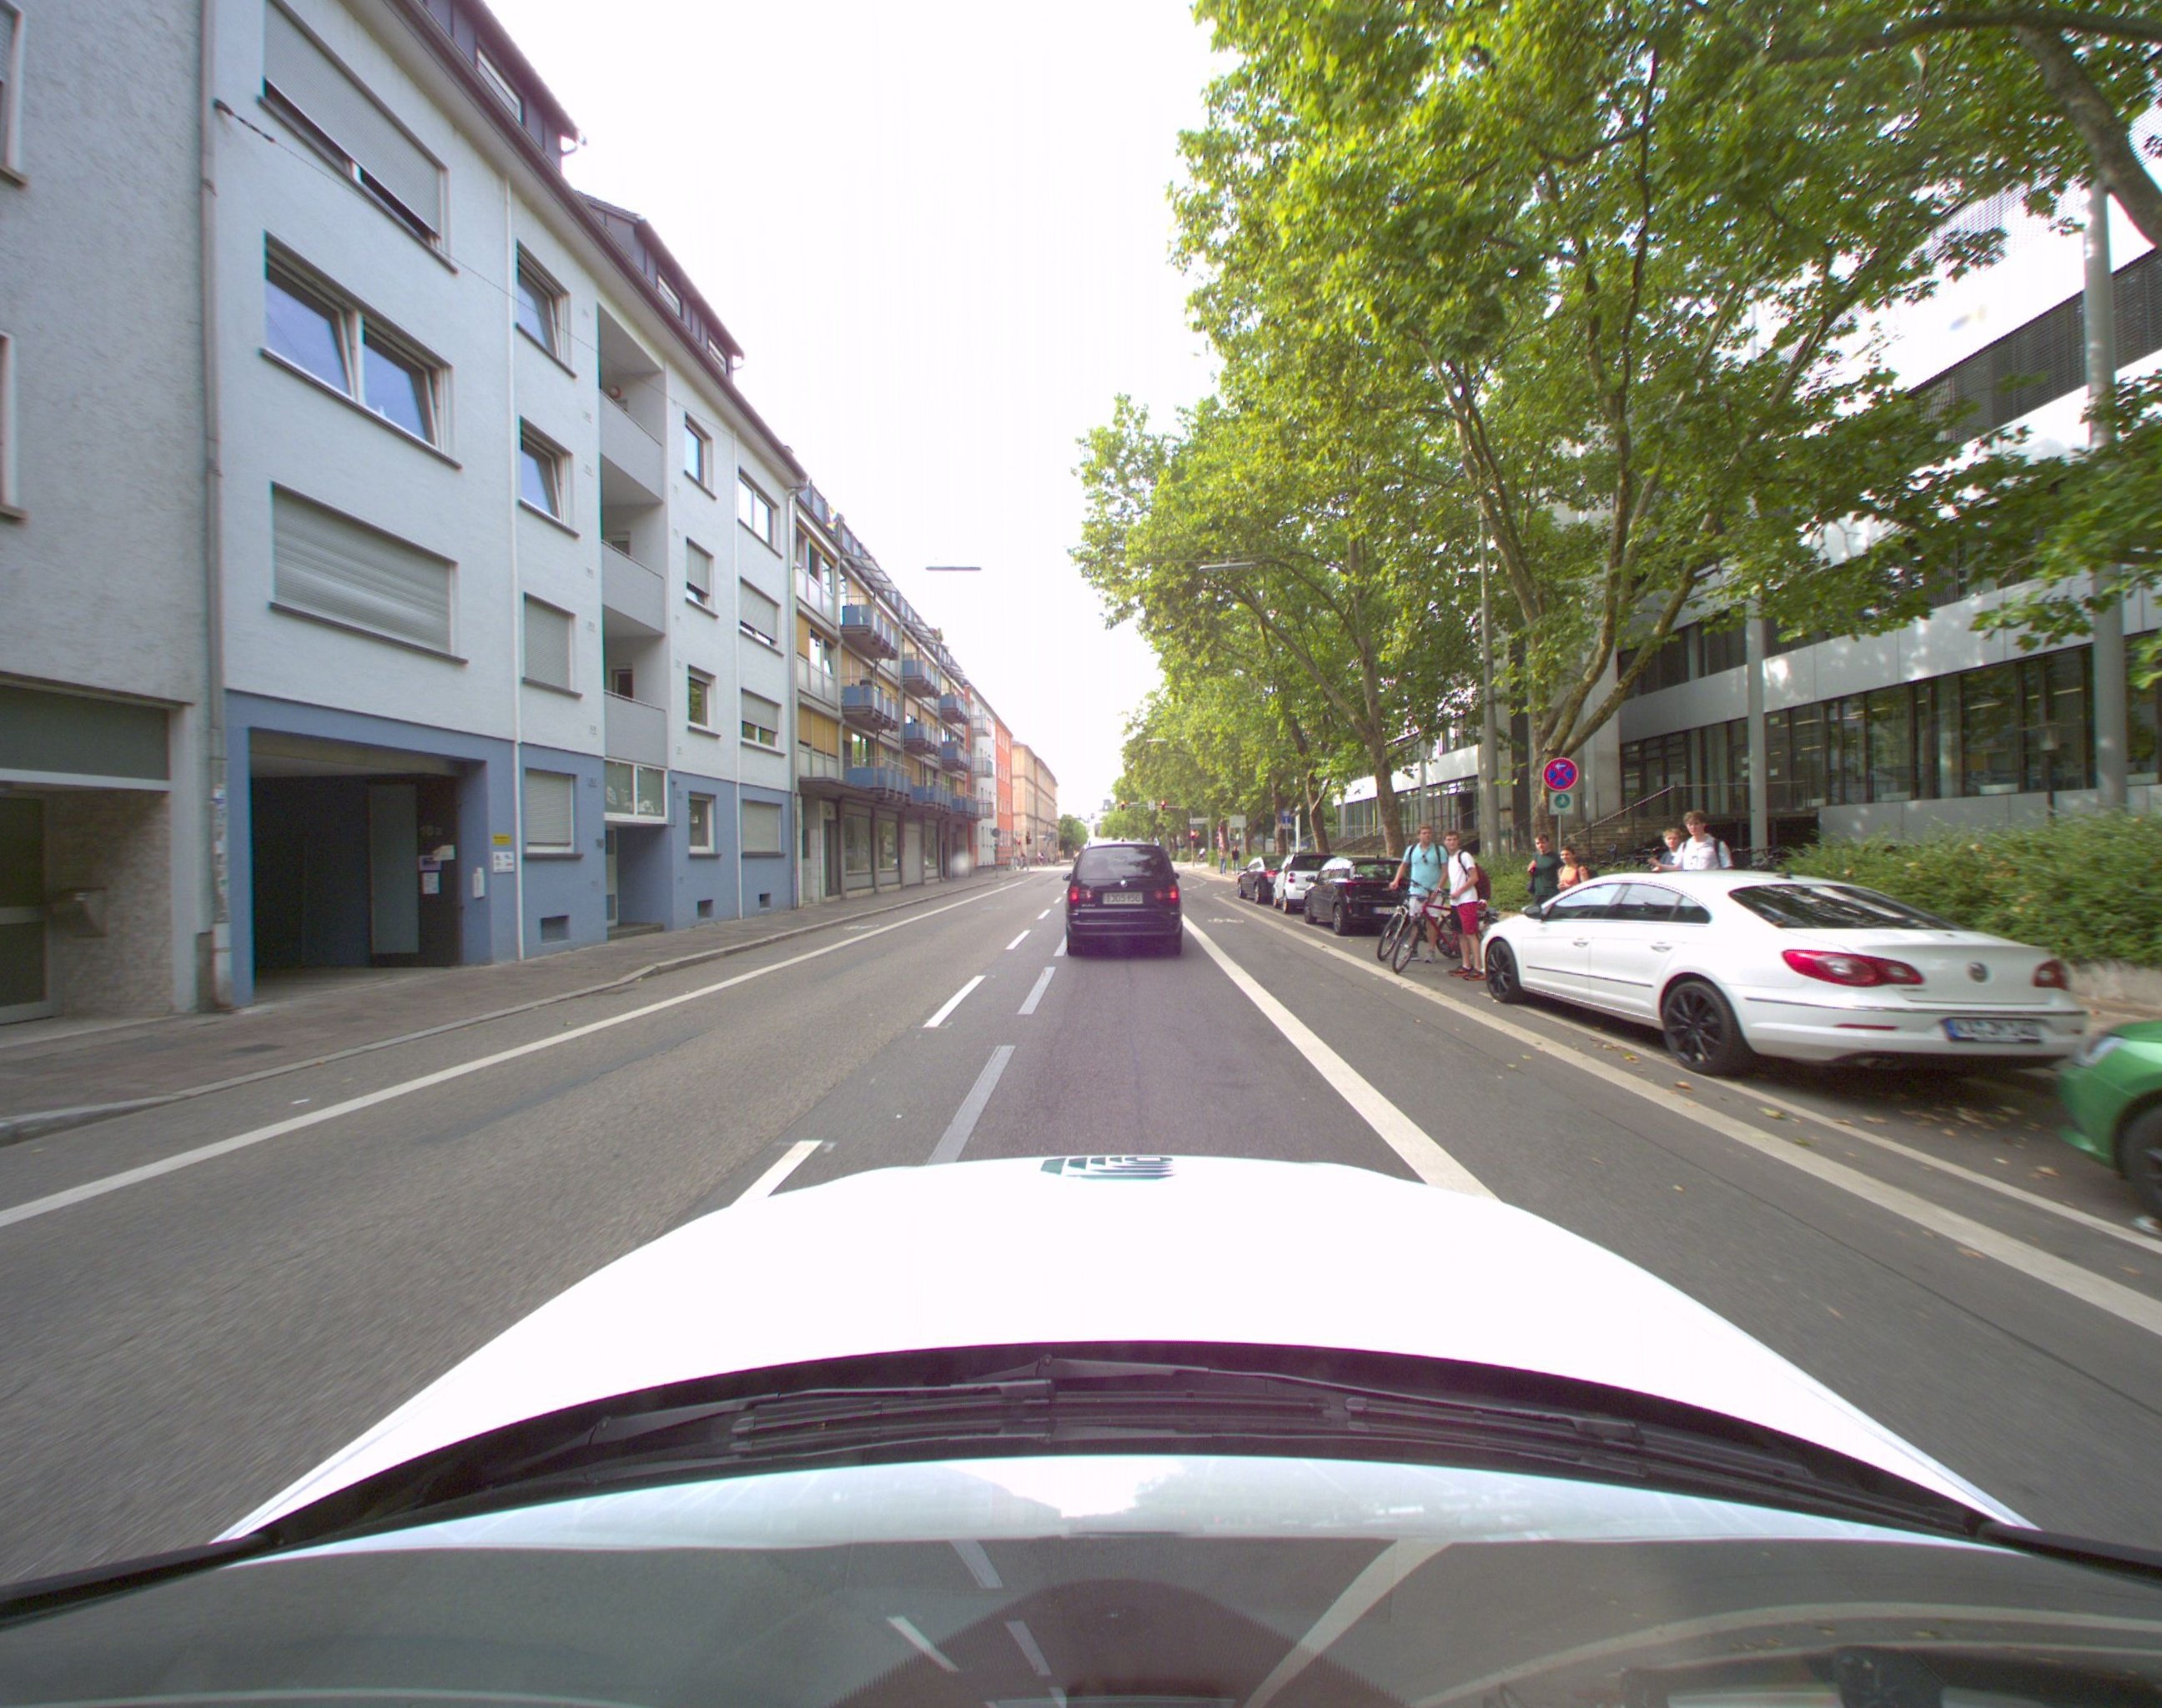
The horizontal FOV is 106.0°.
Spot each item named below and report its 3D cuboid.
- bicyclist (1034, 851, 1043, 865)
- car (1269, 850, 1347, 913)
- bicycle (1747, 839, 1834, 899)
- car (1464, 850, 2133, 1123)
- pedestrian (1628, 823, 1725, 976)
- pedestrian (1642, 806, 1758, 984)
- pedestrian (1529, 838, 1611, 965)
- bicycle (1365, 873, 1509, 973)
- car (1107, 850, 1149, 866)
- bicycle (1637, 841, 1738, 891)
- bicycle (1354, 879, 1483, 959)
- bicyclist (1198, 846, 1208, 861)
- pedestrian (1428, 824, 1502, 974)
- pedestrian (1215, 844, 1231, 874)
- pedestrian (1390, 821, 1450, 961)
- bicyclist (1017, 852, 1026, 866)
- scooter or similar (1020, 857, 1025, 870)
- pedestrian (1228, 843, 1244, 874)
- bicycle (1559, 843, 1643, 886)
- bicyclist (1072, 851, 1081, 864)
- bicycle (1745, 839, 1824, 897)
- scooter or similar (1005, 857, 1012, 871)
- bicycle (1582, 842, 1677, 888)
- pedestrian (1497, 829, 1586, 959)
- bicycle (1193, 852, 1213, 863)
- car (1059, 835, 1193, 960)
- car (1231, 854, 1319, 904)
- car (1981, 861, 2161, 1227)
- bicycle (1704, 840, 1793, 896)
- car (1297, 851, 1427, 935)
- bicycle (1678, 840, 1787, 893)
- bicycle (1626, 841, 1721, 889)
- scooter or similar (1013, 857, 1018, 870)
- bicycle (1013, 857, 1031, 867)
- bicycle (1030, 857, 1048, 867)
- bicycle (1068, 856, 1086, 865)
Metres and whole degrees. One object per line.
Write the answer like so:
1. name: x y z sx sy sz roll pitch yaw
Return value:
1. bicyclist: -4.601 0.445 87.877 0.914 1.466 0.568 0 0 -8
2. car: 5.886 0.663 21.381 1.528 1.543 2.603 0 0 5
3. bicycle: 14.170 0.300 16.280 1.376 1.117 0.468 -2 0 -6
4. car: 5.142 0.747 6.890 1.675 1.516 4.544 1 0 0
5. pedestrian: 7.494 0.556 10.278 0.718 1.855 0.704 0 0 2
6. pedestrian: 7.211 0.458 9.516 0.790 1.997 0.750 0 0 2
7. pedestrian: 6.618 0.625 11.046 0.718 1.658 0.655 0 0 2
8. bicycle: 4.663 0.870 10.666 1.792 1.217 0.550 0 0 -16
9. car: 4.827 0.403 84.221 4.080 1.427 1.760 -3 0 -6
10. bicycle: 14.718 0.277 19.782 1.907 1.117 0.674 -2 0 2
11. bicycle: 4.951 0.930 11.965 1.734 1.105 0.550 0 0 -9
12. bicyclist: 12.388 -0.065 82.613 0.854 1.567 0.576 0 -1 -6
13. pedestrian: 4.900 0.552 10.422 0.520 1.845 0.741 0 0 -13
14. pedestrian: 8.587 0.297 49.221 0.708 1.783 1.034 -3 -1 1
15. pedestrian: 4.861 0.514 11.698 0.474 1.934 0.742 0 0 -9
16. bicyclist: -6.361 0.485 86.554 0.914 1.466 0.568 0 0 -8
17. scooter or similar: -5.464 0.889 75.768 0.377 1.144 1.141 -1 -2 -1
18. pedestrian: 9.349 0.270 49.243 0.712 1.800 1.034 -3 -1 1
19. bicycle: 14.777 0.292 23.186 1.907 1.117 0.674 -2 0 2
20. bicyclist: -0.472 0.357 89.499 0.914 1.466 0.568 0 0 -10
21. bicycle: 14.578 0.286 16.879 1.379 1.117 0.509 -2 0 -13
22. scooter or similar: -6.141 0.831 69.110 0.376 1.184 1.390 -1 -2 2
23. bicycle: 14.696 0.287 21.850 2.071 1.117 0.674 -2 0 2
24. pedestrian: 6.668 0.559 11.824 0.867 1.816 0.780 0 0 2
25. bicycle: 12.335 0.339 82.593 1.922 1.028 0.582 0 0 -7
26. car: 0.693 0.601 13.820 1.867 1.745 4.575 -1 0 1
27. car: 5.967 0.716 25.528 1.692 1.425 4.421 0 0 0
28. car: 5.095 0.778 2.002 1.582 1.449 3.805 1 0 0
29. bicycle: 14.313 0.287 17.465 1.698 1.117 0.619 -2 0 -17
30. car: 5.571 0.703 16.555 1.522 1.502 3.662 0 0 3
31. bicycle: 14.935 0.271 18.688 1.907 1.117 0.674 -2 0 2
32. bicycle: 15.108 0.279 20.796 1.907 1.117 0.674 -2 0 2
33. scooter or similar: -6.051 0.877 75.330 0.377 1.147 1.141 -1 -2 -1
34. bicycle: -6.286 0.874 86.565 1.923 1.028 0.582 0 0 -8
35. bicycle: -4.548 0.877 87.883 1.923 1.028 0.582 0 0 -8
36. bicycle: -0.436 0.714 89.501 1.925 1.028 0.581 0 0 -11
